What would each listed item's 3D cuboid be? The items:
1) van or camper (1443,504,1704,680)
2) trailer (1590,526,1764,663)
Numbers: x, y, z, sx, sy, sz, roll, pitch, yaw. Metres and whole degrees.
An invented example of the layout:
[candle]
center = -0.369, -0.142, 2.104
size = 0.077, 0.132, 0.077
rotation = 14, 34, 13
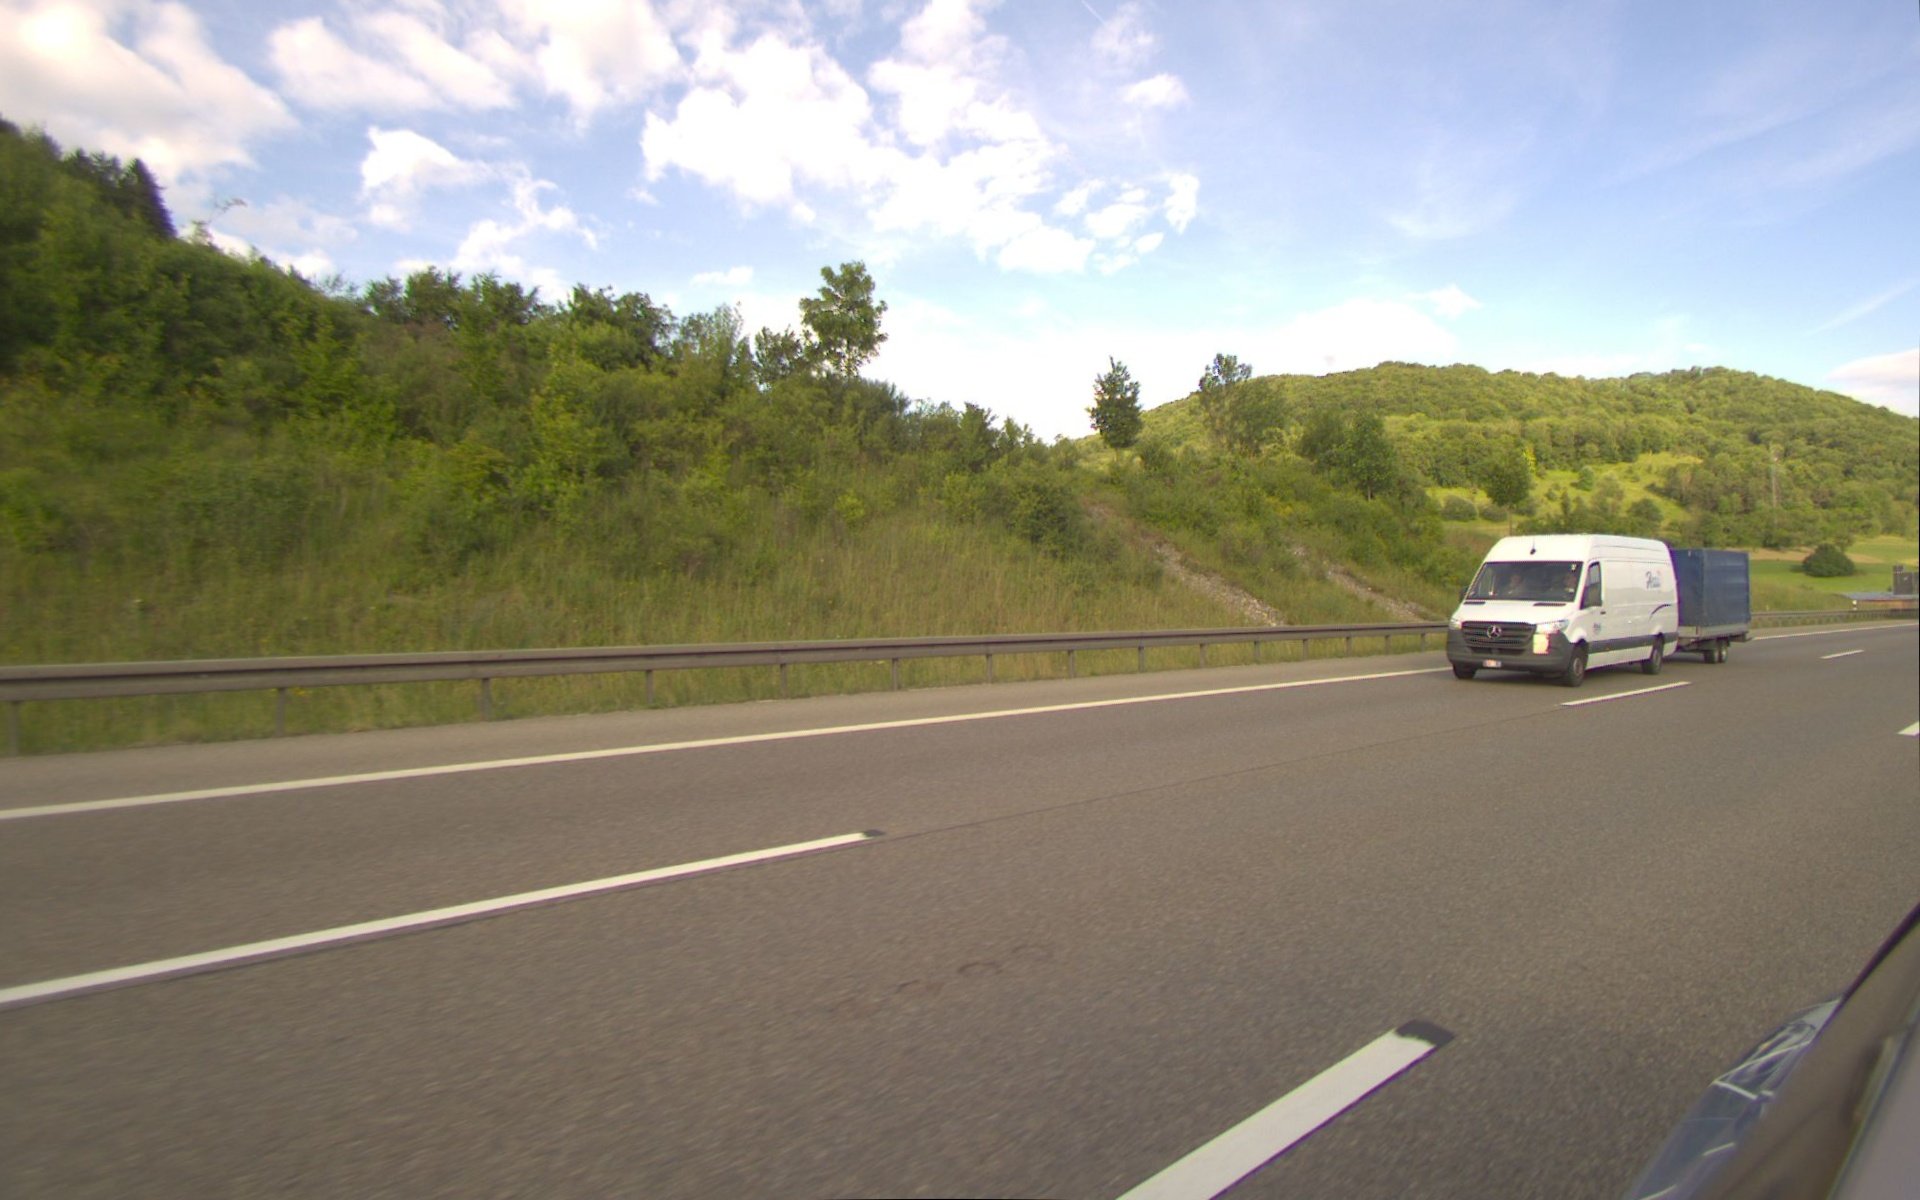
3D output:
[van or camper]
center = 11.743, -0.137, 19.016
size = 7.390, 2.752, 1.997
rotation = 0, 0, -41
[trailer]
center = 16.322, -0.137, 22.920
size = 5.156, 2.760, 1.997
rotation = 0, 0, -40
